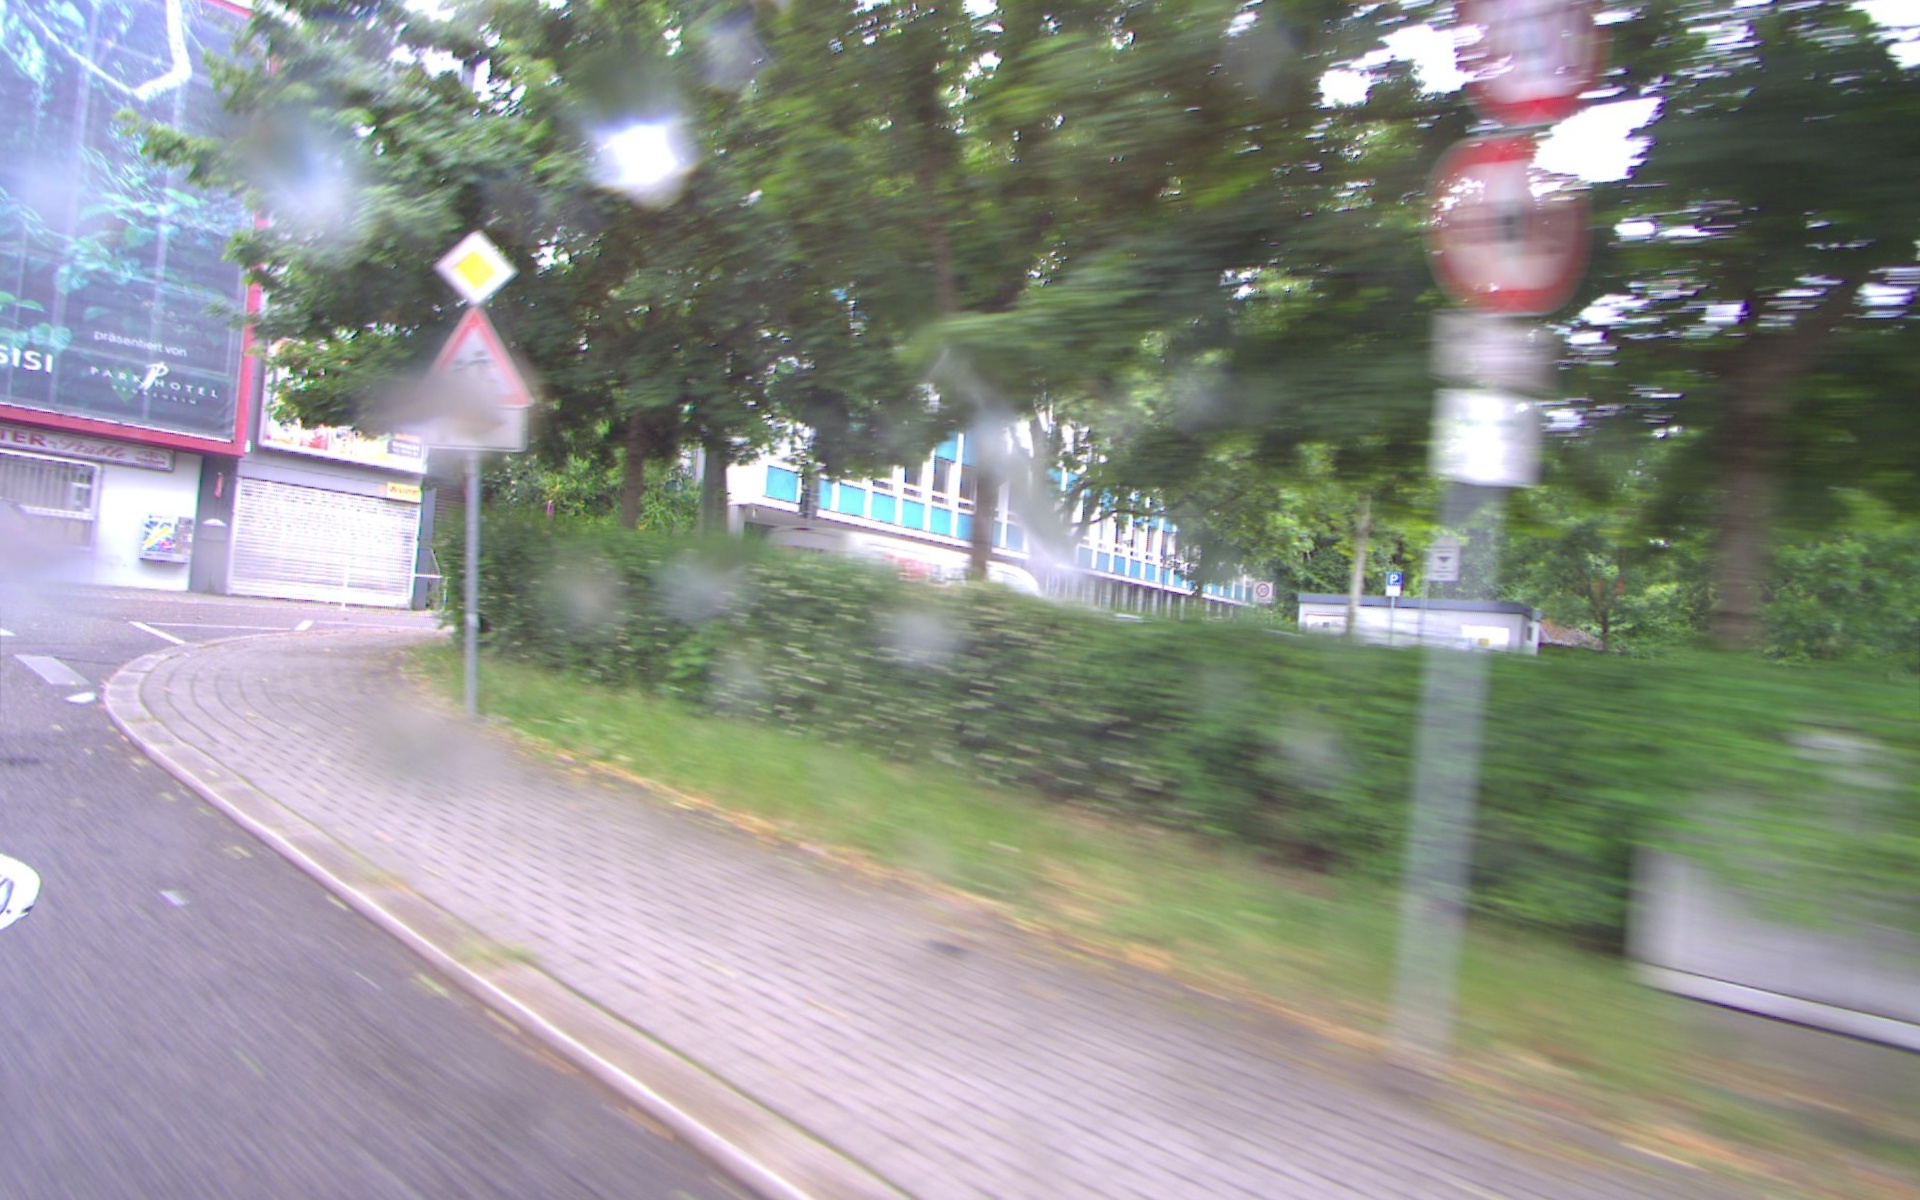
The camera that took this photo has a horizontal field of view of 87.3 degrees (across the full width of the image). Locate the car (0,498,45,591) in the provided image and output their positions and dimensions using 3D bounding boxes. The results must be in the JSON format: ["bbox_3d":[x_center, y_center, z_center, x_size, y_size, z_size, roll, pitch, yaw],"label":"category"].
[{"bbox_3d":[-20.135,-1.257,19.112,3.972,1.732,1.910,6,-1,-43],"label":"car"}]

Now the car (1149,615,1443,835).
[{"bbox_3d":[3.667,1.228,10.440,1.611,1.641,4.201,8,-1,35],"label":"car"}]

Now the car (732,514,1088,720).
[{"bbox_3d":[-0.456,0.304,12.396,4.188,1.983,1.616,9,-1,-45],"label":"car"}]

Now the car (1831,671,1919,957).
[{"bbox_3d":[6.806,1.372,6.156,1.611,1.641,4.201,8,-1,35],"label":"car"}]

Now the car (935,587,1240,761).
[{"bbox_3d":[1.675,0.889,11.686,1.611,1.500,4.201,8,-1,35],"label":"car"}]

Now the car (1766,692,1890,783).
[{"bbox_3d":[19.399,3.014,22.633,1.773,1.629,3.985,6,-1,38],"label":"car"}]

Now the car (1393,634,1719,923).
[{"bbox_3d":[4.860,1.251,8.058,1.611,1.500,4.201,8,-1,35],"label":"car"}]

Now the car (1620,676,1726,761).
[{"bbox_3d":[17.073,2.782,24.000,1.773,1.629,3.985,6,-1,38],"label":"car"}]

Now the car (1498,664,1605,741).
[{"bbox_3d":[15.305,2.625,25.928,1.773,1.629,3.985,6,-1,38],"label":"car"}]
